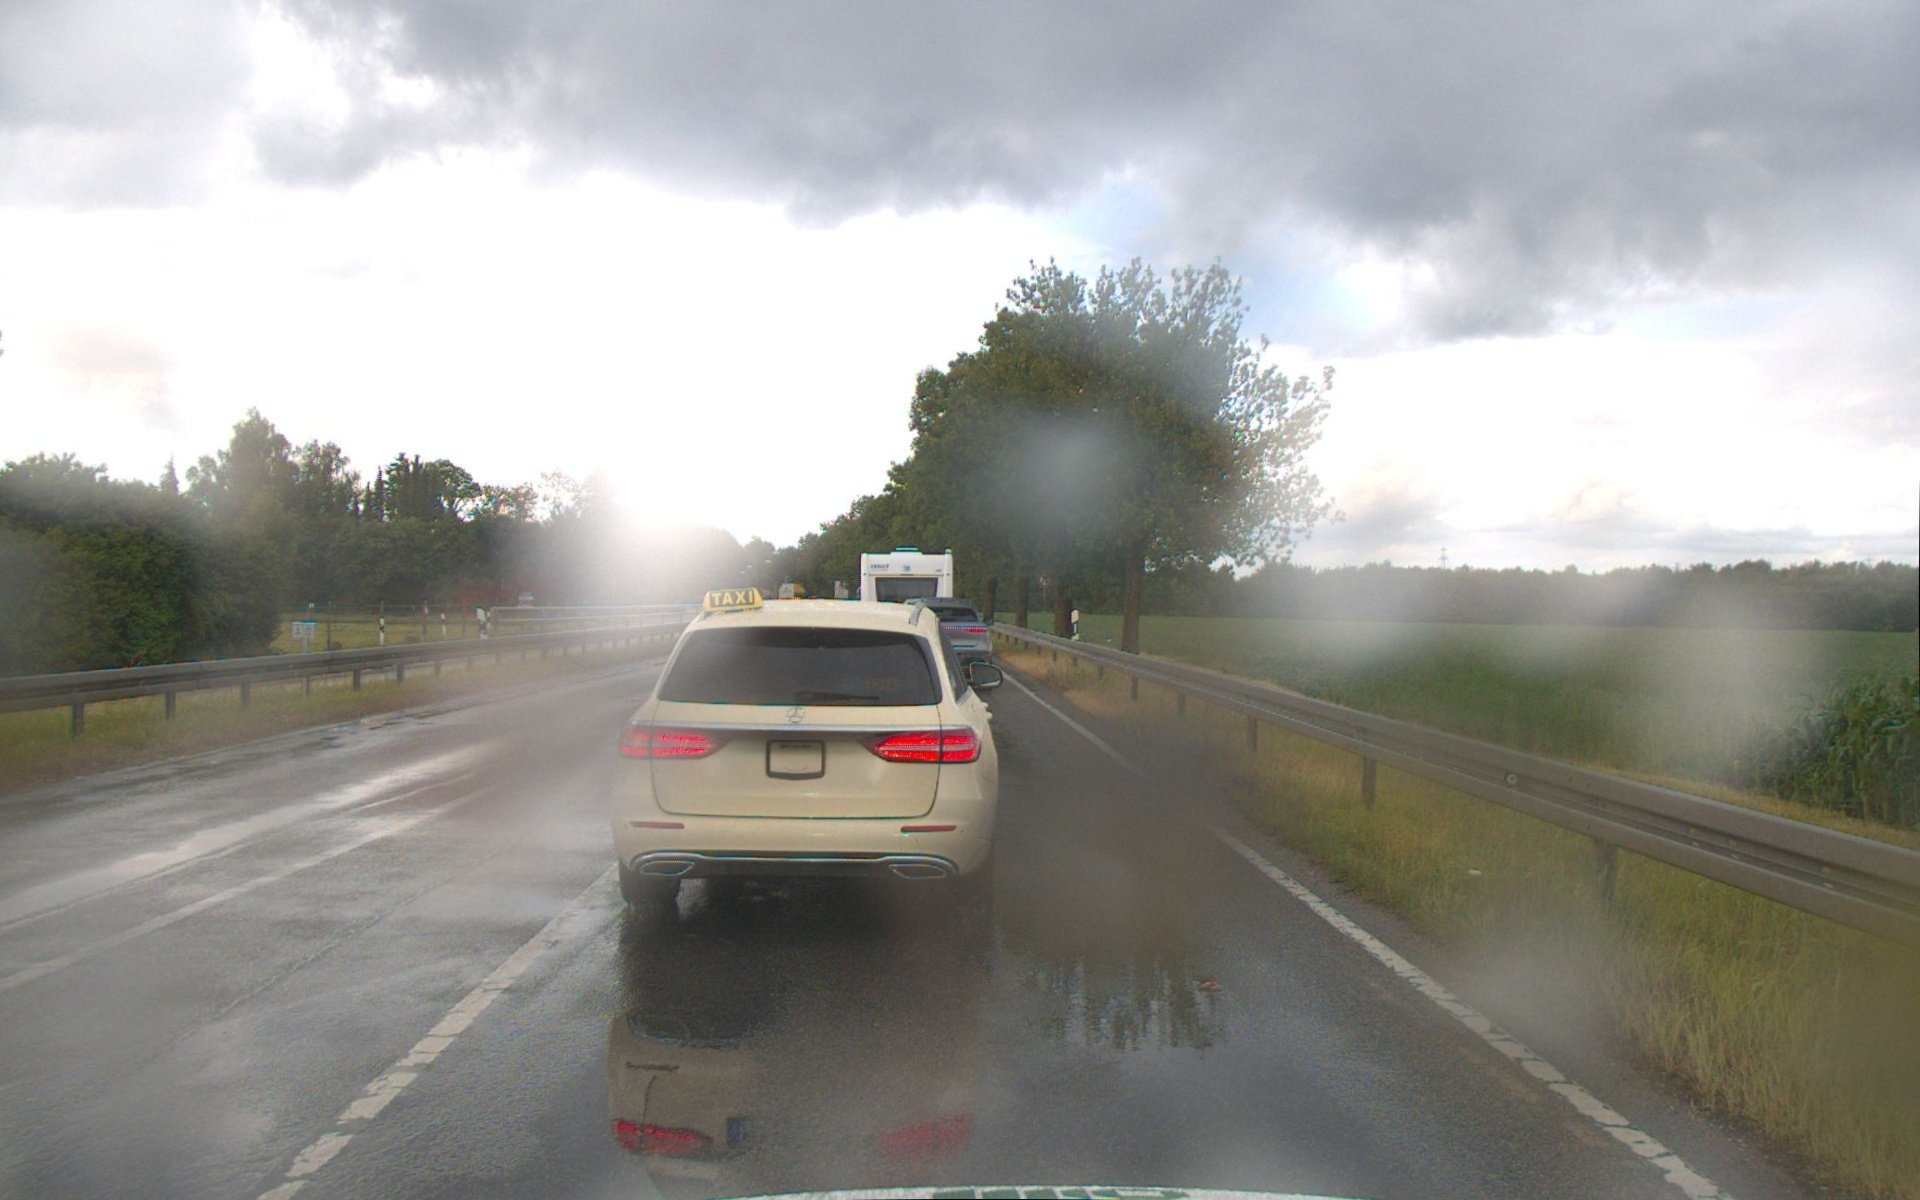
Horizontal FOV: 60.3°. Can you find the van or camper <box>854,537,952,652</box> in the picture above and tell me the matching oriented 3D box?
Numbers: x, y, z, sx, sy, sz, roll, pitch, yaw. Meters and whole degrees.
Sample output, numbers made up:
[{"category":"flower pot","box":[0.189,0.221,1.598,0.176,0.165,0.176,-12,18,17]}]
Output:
[{"category":"van or camper","box":[-1.421,-0.152,42.427,2.303,2.727,5.767,1,0,-1]}]

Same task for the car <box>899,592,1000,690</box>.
[{"category":"car","box":[-0.200,0.650,28.400,1.594,1.556,3.931,1,0,-1]}]

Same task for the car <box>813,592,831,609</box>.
[{"category":"car","box":[-17.389,0.060,208.581,1.953,2.087,4.000,1,0,0]}]

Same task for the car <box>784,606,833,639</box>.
[{"category":"car","box":[-6.284,0.930,68.895,1.723,1.291,3.999,1,0,-1]}]

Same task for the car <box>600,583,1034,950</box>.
[{"category":"car","box":[-0.590,0.695,8.952,1.787,1.511,4.145,1,0,0]}]
